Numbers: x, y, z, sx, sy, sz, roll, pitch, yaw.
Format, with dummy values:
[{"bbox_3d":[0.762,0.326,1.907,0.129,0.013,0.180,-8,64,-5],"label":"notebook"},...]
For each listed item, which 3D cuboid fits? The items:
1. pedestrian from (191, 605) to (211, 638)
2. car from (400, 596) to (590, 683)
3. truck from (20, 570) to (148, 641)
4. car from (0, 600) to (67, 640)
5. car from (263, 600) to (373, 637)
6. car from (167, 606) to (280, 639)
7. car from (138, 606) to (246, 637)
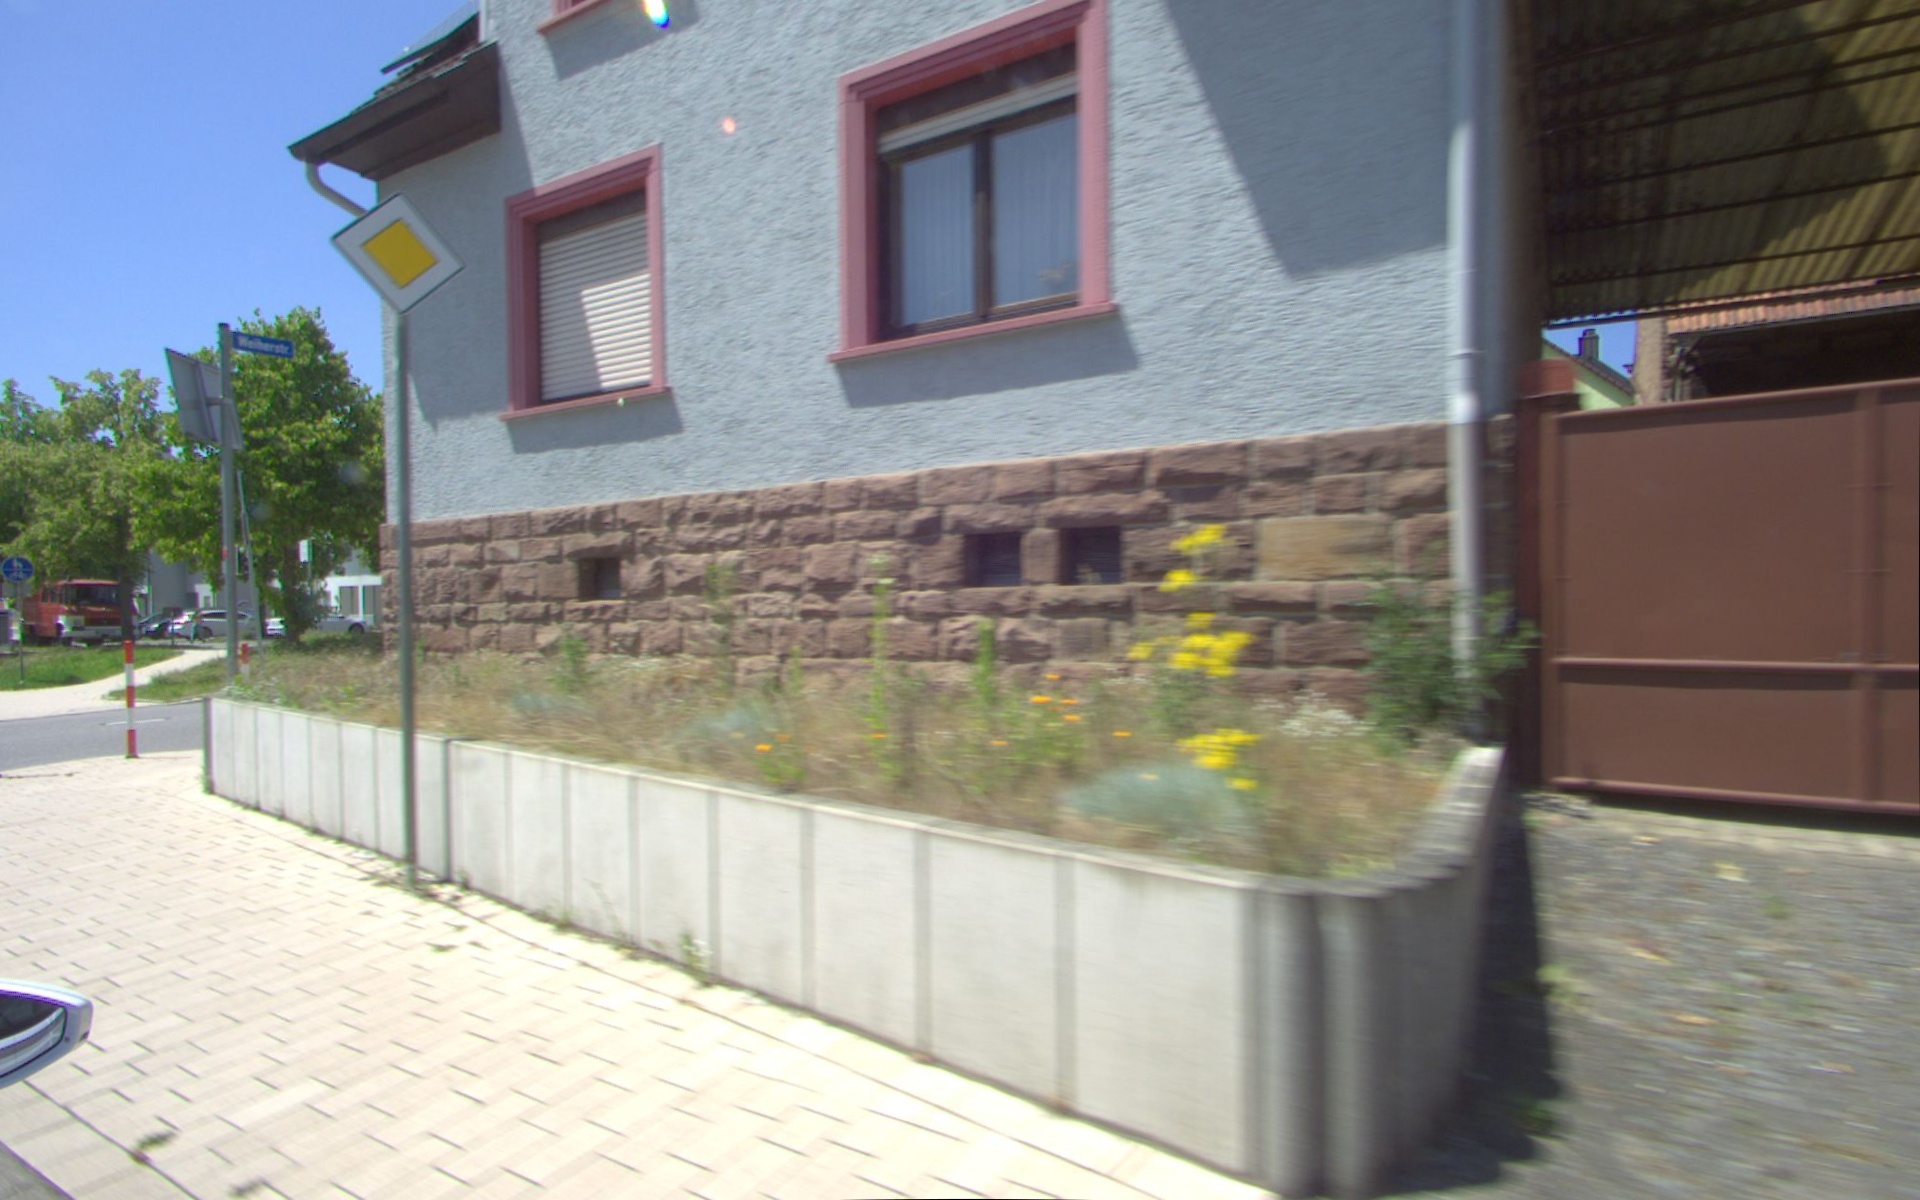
[{"bbox_3d":[-36.467,1.007,48.106,0.605,1.532,0.737,-3,3,-31],"label":"pedestrian"},{"bbox_3d":[-9.057,0.712,19.864,1.742,1.498,3.681,-3,0,5],"label":"car"},{"bbox_3d":[-31.410,0.239,35.869,5.186,2.365,2.127,-1,0,33],"label":"truck"},{"bbox_3d":[-37.069,0.767,38.377,1.725,1.518,3.976,-1,0,34],"label":"car"},{"bbox_3d":[-29.931,0.842,46.794,1.733,1.498,3.925,-1,1,34],"label":"car"},{"bbox_3d":[-38.425,1.166,52.318,1.733,1.510,4.393,-1,1,34],"label":"car"},{"bbox_3d":[-42.513,1.186,55.540,1.733,1.510,4.393,-1,1,34],"label":"car"}]
